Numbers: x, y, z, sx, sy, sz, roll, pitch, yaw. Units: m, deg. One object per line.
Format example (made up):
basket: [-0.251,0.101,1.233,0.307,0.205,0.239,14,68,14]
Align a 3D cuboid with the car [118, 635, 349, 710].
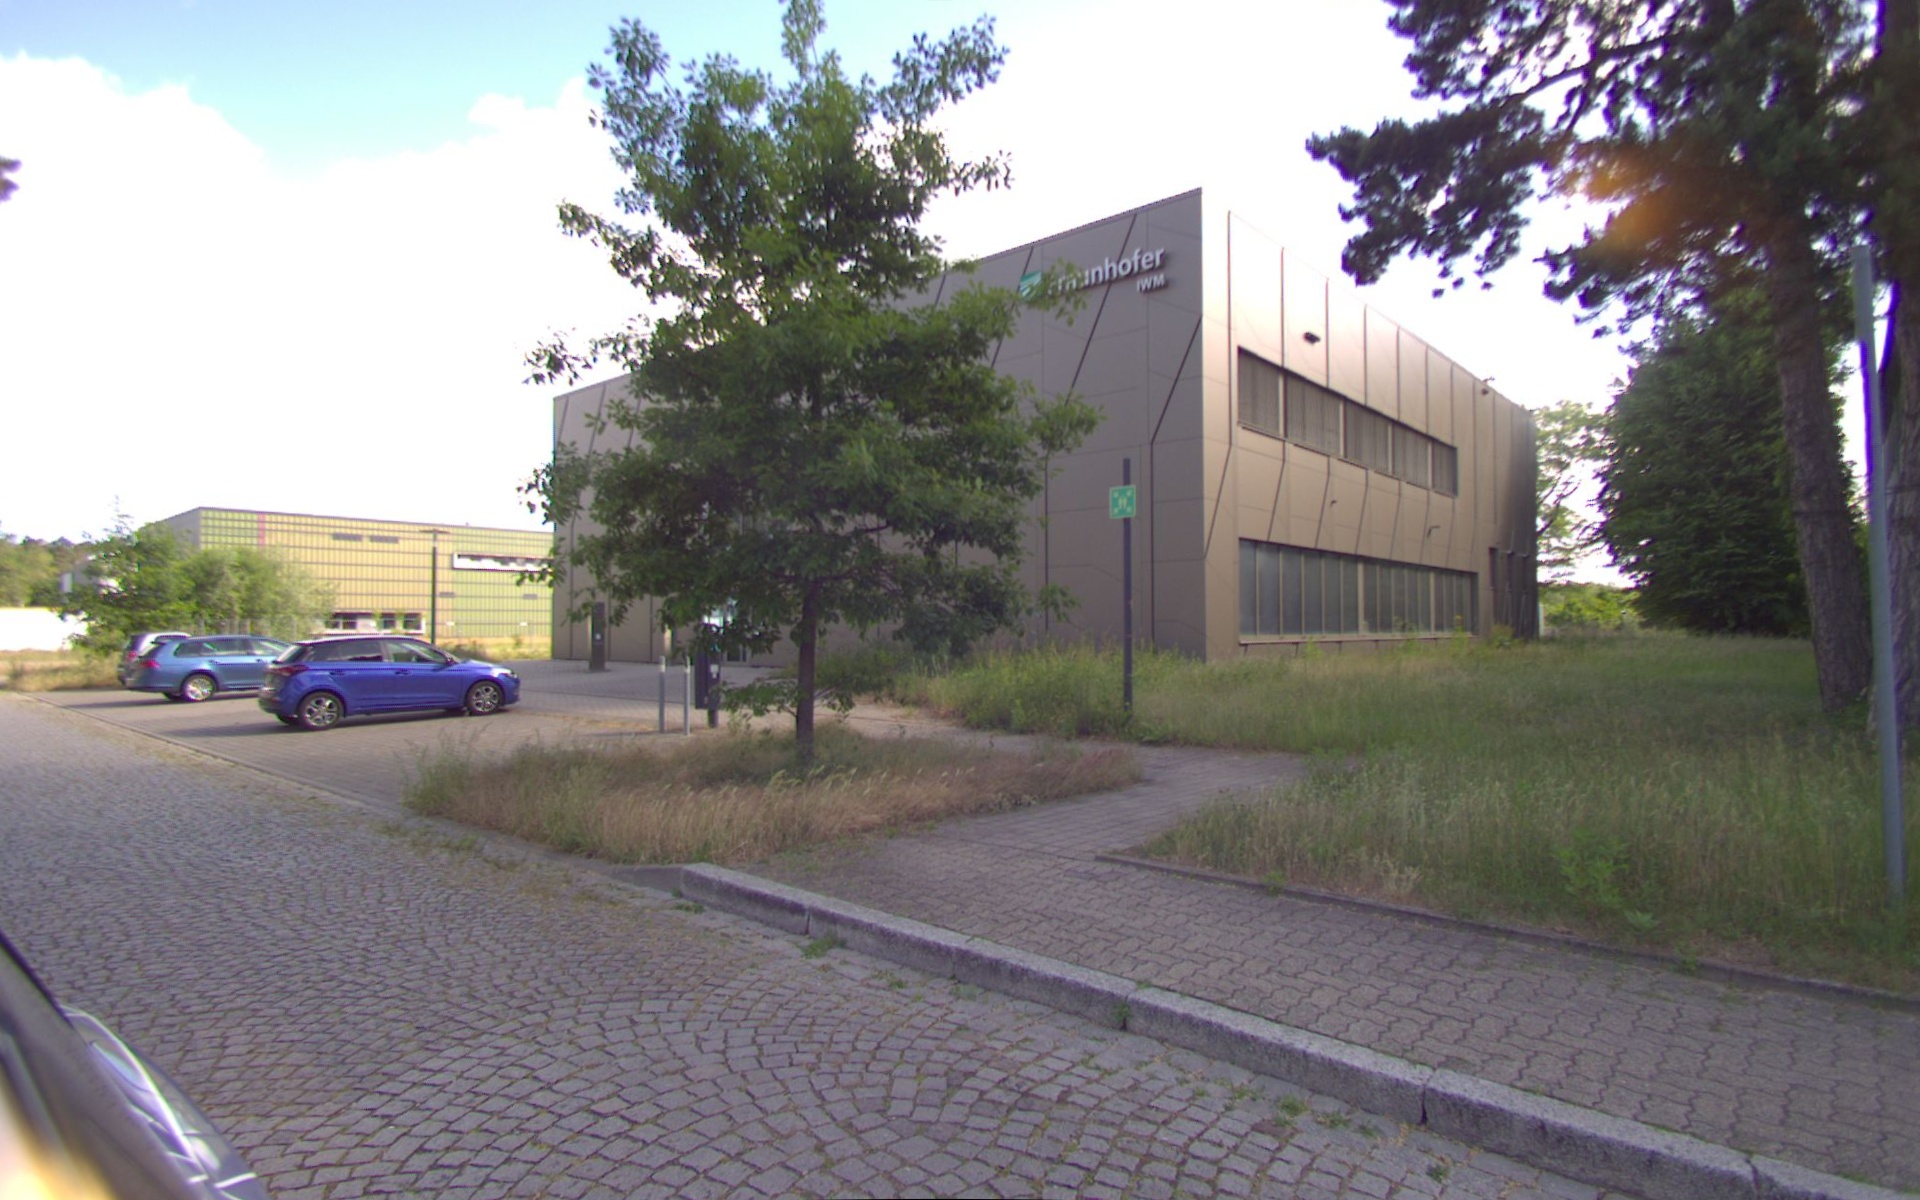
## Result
car: [-16.993,1.635,23.842,1.733,1.485,4.127,-2,-1,39]

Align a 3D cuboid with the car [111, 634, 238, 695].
car: [-22.390,1.790,28.888,1.480,1.580,2.619,-2,-1,40]

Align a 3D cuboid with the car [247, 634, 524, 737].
car: [-9.888,1.384,17.605,1.735,1.479,3.865,-2,-1,44]
